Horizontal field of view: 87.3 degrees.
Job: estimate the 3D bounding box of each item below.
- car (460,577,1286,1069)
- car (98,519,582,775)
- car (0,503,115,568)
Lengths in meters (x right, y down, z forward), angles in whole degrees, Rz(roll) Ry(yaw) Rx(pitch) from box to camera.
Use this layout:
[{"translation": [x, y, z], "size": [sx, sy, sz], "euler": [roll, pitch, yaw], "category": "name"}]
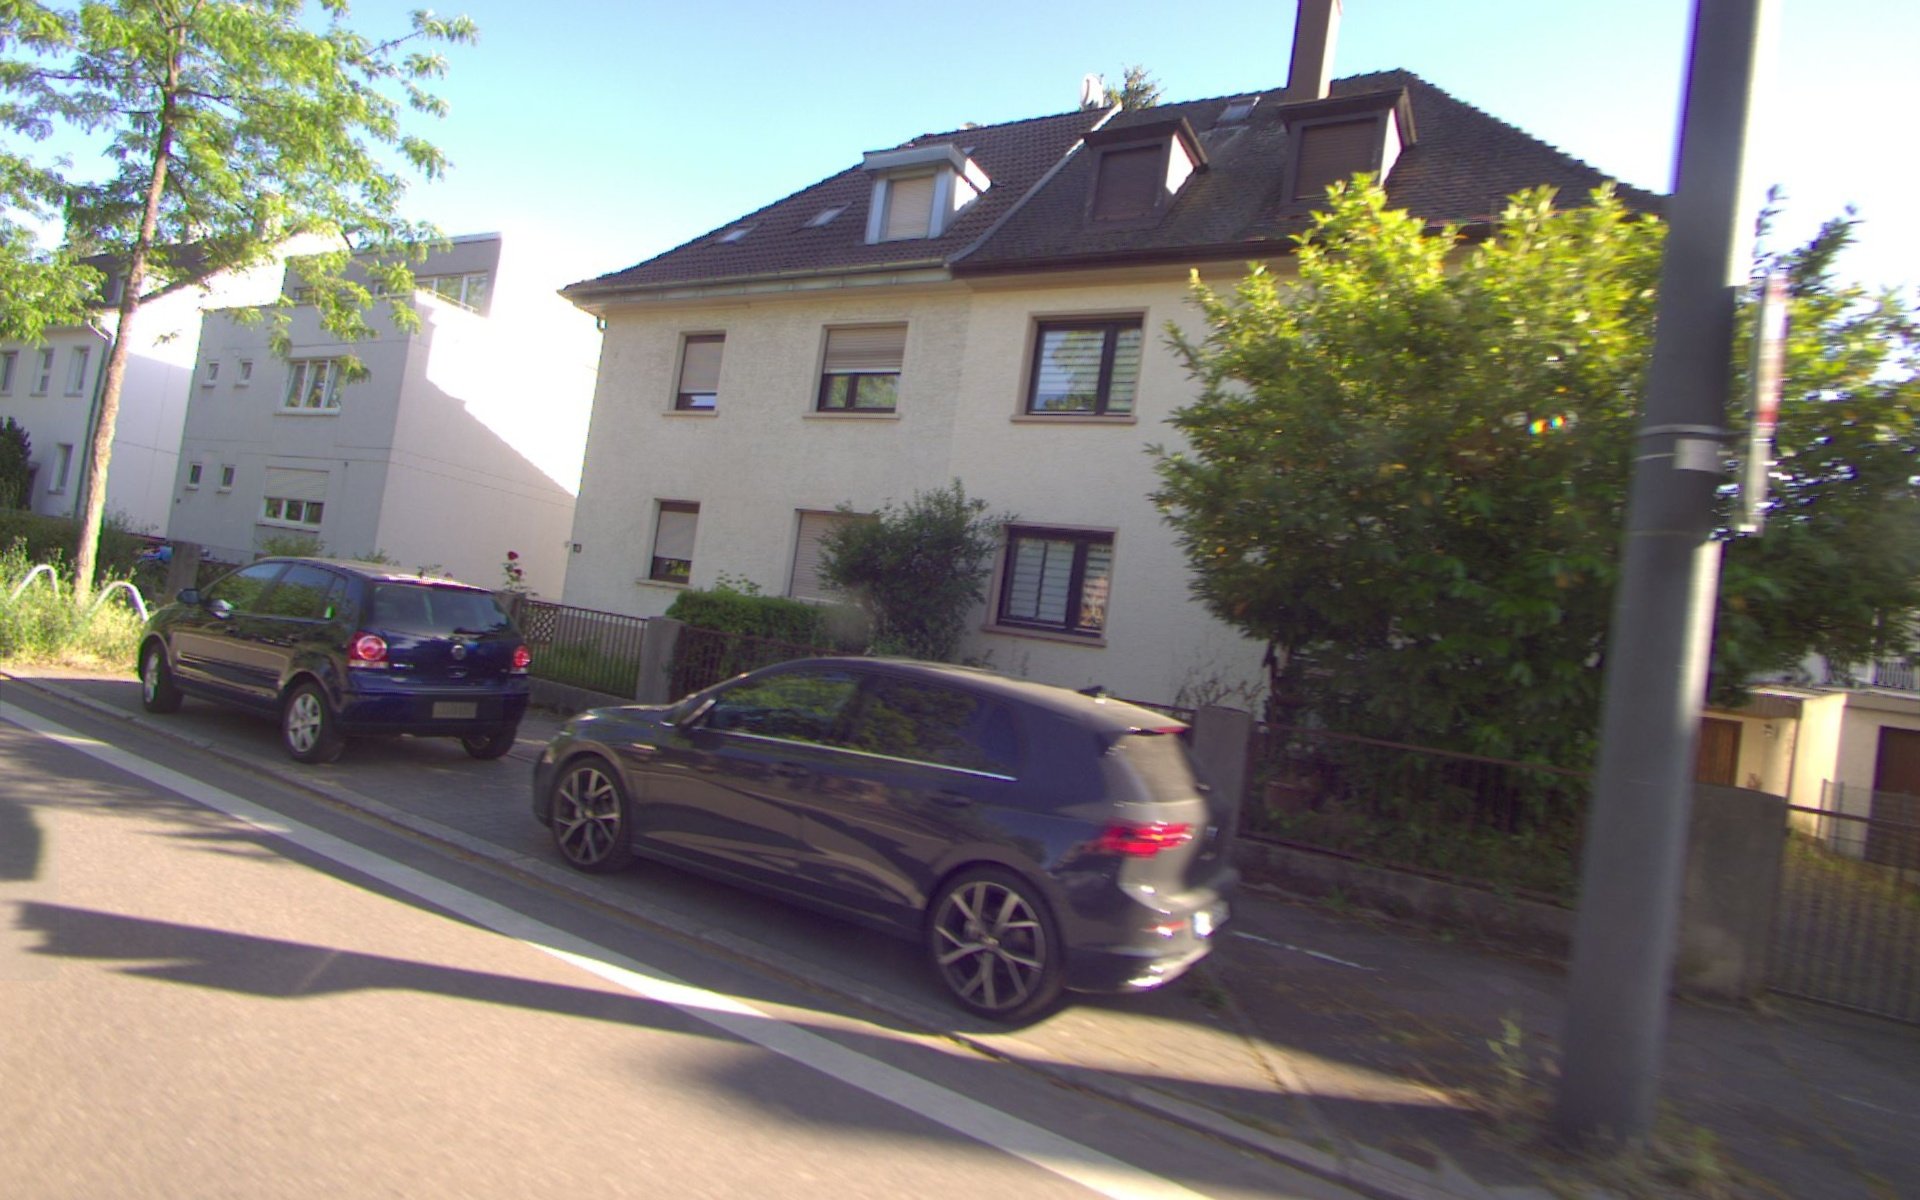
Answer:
[{"translation": [-0.634, 0.927, 5.766], "size": [4.368, 1.512, 1.753], "euler": [7, -2, 30], "category": "car"}, {"translation": [-5.368, 0.330, 8.621], "size": [3.929, 1.512, 1.753], "euler": [7, -2, 30], "category": "car"}, {"translation": [-25.843, -1.912, 27.226], "size": [1.845, 1.357, 4.062], "euler": [7, -3, 30], "category": "car"}]
